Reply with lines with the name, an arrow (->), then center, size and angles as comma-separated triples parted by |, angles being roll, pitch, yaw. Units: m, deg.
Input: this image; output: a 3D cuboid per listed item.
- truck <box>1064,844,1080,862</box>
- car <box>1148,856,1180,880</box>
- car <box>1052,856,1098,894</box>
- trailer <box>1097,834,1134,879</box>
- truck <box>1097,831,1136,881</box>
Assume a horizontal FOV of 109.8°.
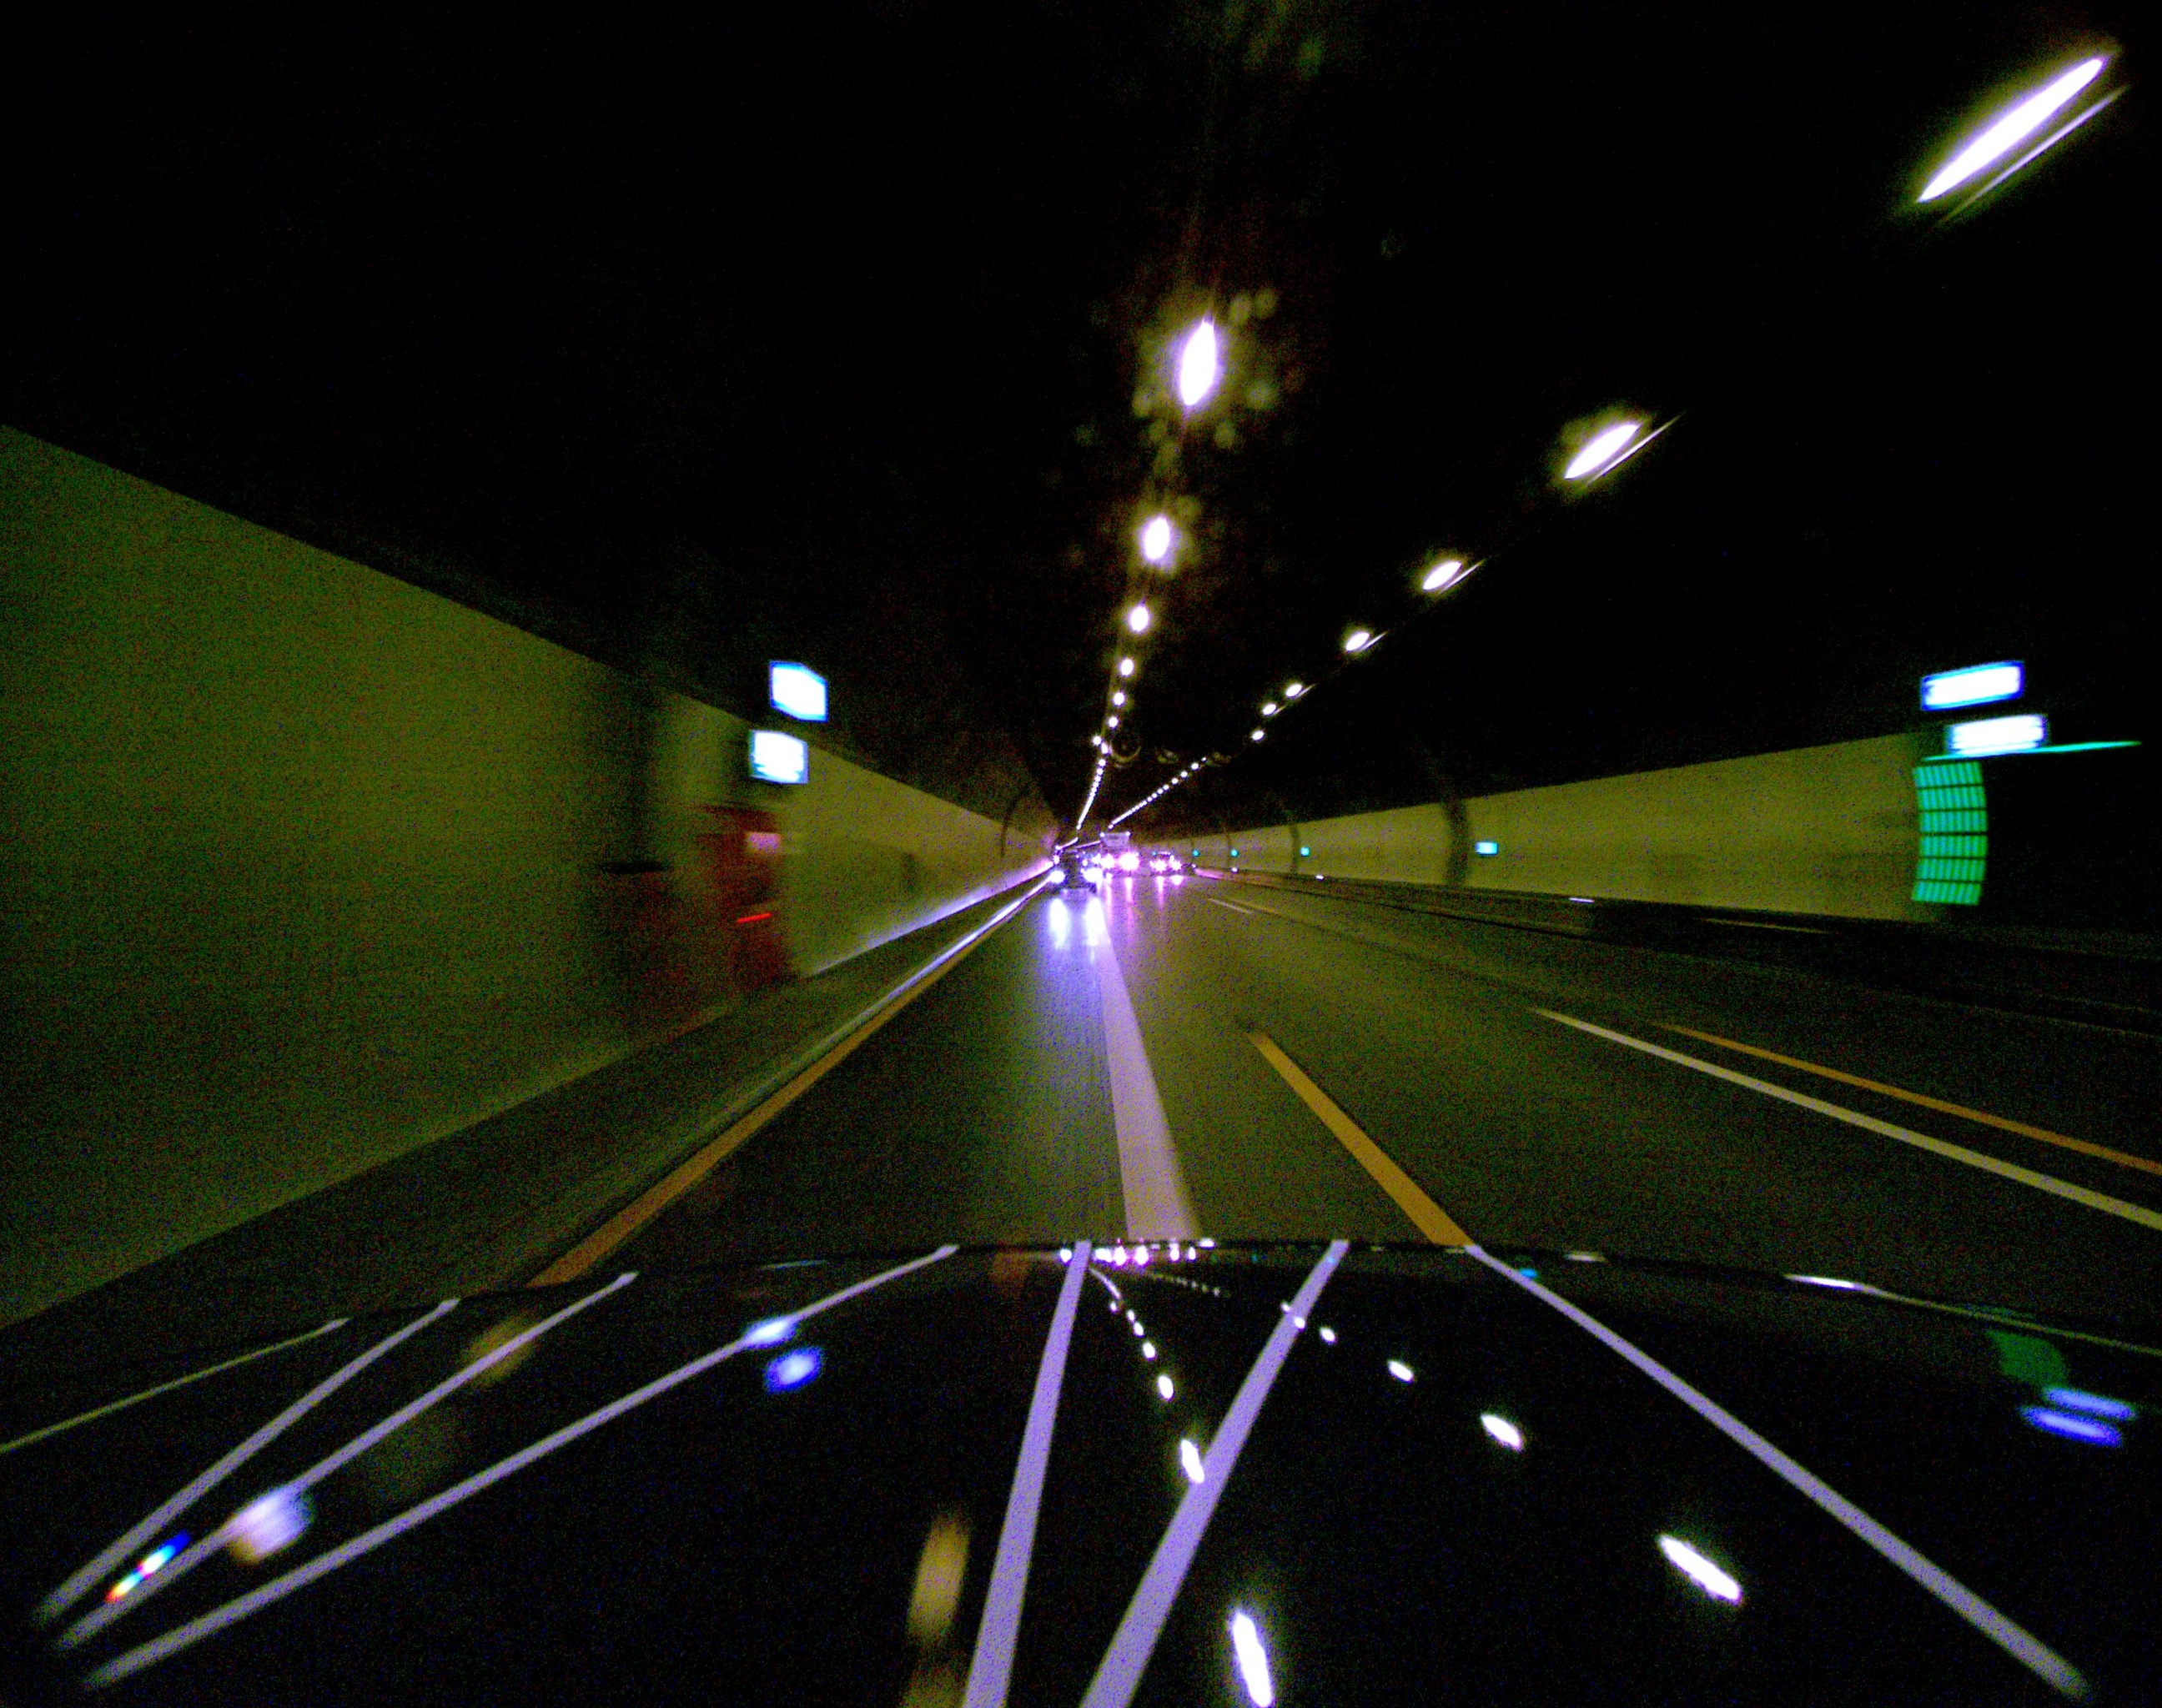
truck -> -1.424, -0.122, 120.008 | 2.151, 2.609, 9.909 | -3, -1, 1
car -> 5.905, 0.961, 54.352 | 1.766, 1.563, 4.096 | -3, 1, -1
car -> -0.196, 0.869, 33.482 | 1.727, 1.474, 4.001 | -2, 0, 3
trailer -> 2.659, 0.147, 62.500 | 2.374, 3.328, 12.077 | -1, 0, 0
truck -> 2.552, 0.147, 55.961 | 2.374, 3.328, 4.718 | -5, 0, 0
